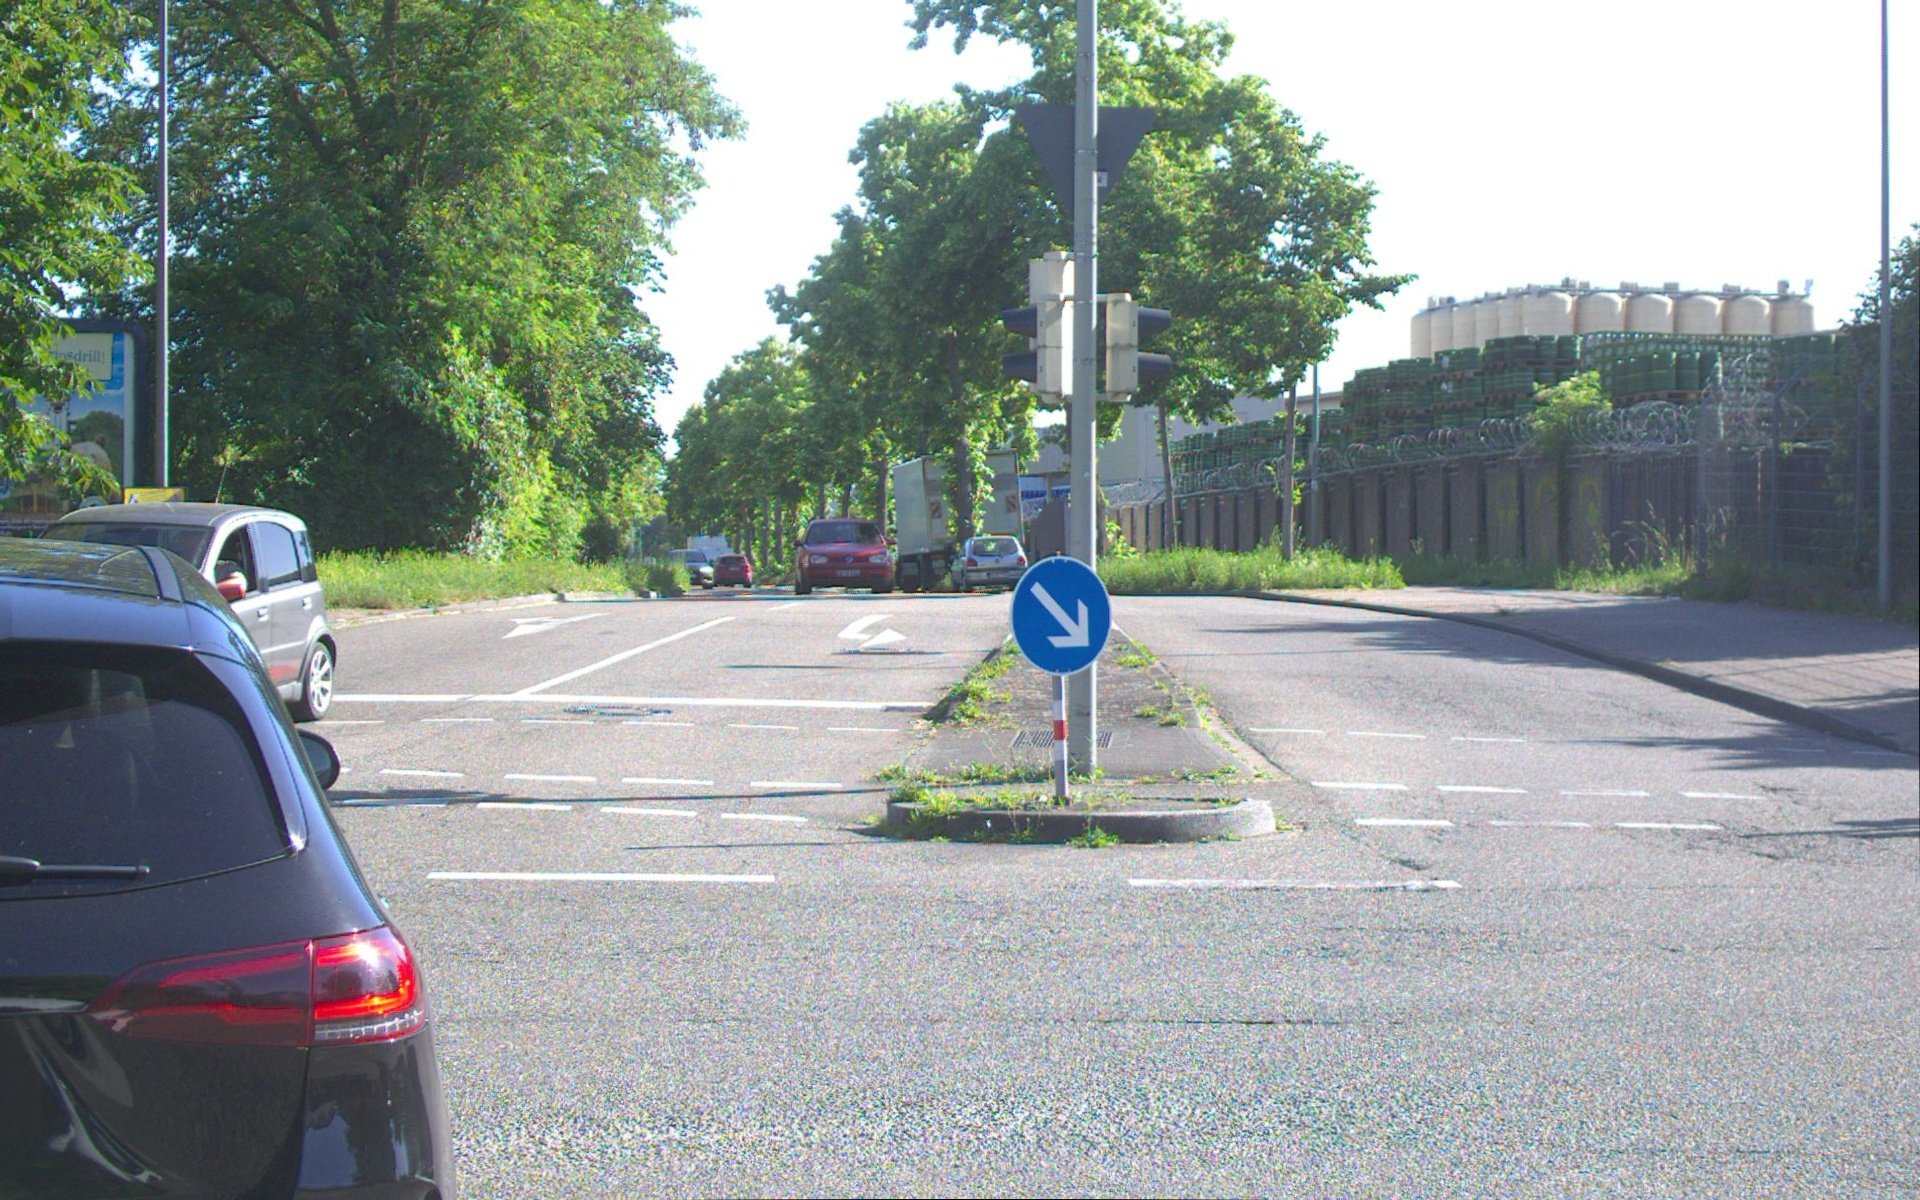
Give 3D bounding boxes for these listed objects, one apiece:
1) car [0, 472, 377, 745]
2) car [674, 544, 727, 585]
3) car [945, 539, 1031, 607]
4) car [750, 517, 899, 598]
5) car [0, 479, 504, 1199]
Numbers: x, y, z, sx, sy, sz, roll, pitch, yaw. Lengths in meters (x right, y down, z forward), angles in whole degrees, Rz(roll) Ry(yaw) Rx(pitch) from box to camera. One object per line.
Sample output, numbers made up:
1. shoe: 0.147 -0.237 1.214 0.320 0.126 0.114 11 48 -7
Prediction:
1. car: -5.336 0.020 22.726 1.805 1.634 3.999 0 1 8
2. car: -9.445 -1.294 124.987 1.857 1.464 4.139 0 1 -5
3. car: 0.662 -0.679 84.333 1.688 1.626 3.131 0 1 -7
4. car: -2.586 -0.812 64.692 1.857 1.464 4.140 0 1 -16
5. car: -1.902 0.607 6.158 1.769 1.587 3.990 0 1 -13
